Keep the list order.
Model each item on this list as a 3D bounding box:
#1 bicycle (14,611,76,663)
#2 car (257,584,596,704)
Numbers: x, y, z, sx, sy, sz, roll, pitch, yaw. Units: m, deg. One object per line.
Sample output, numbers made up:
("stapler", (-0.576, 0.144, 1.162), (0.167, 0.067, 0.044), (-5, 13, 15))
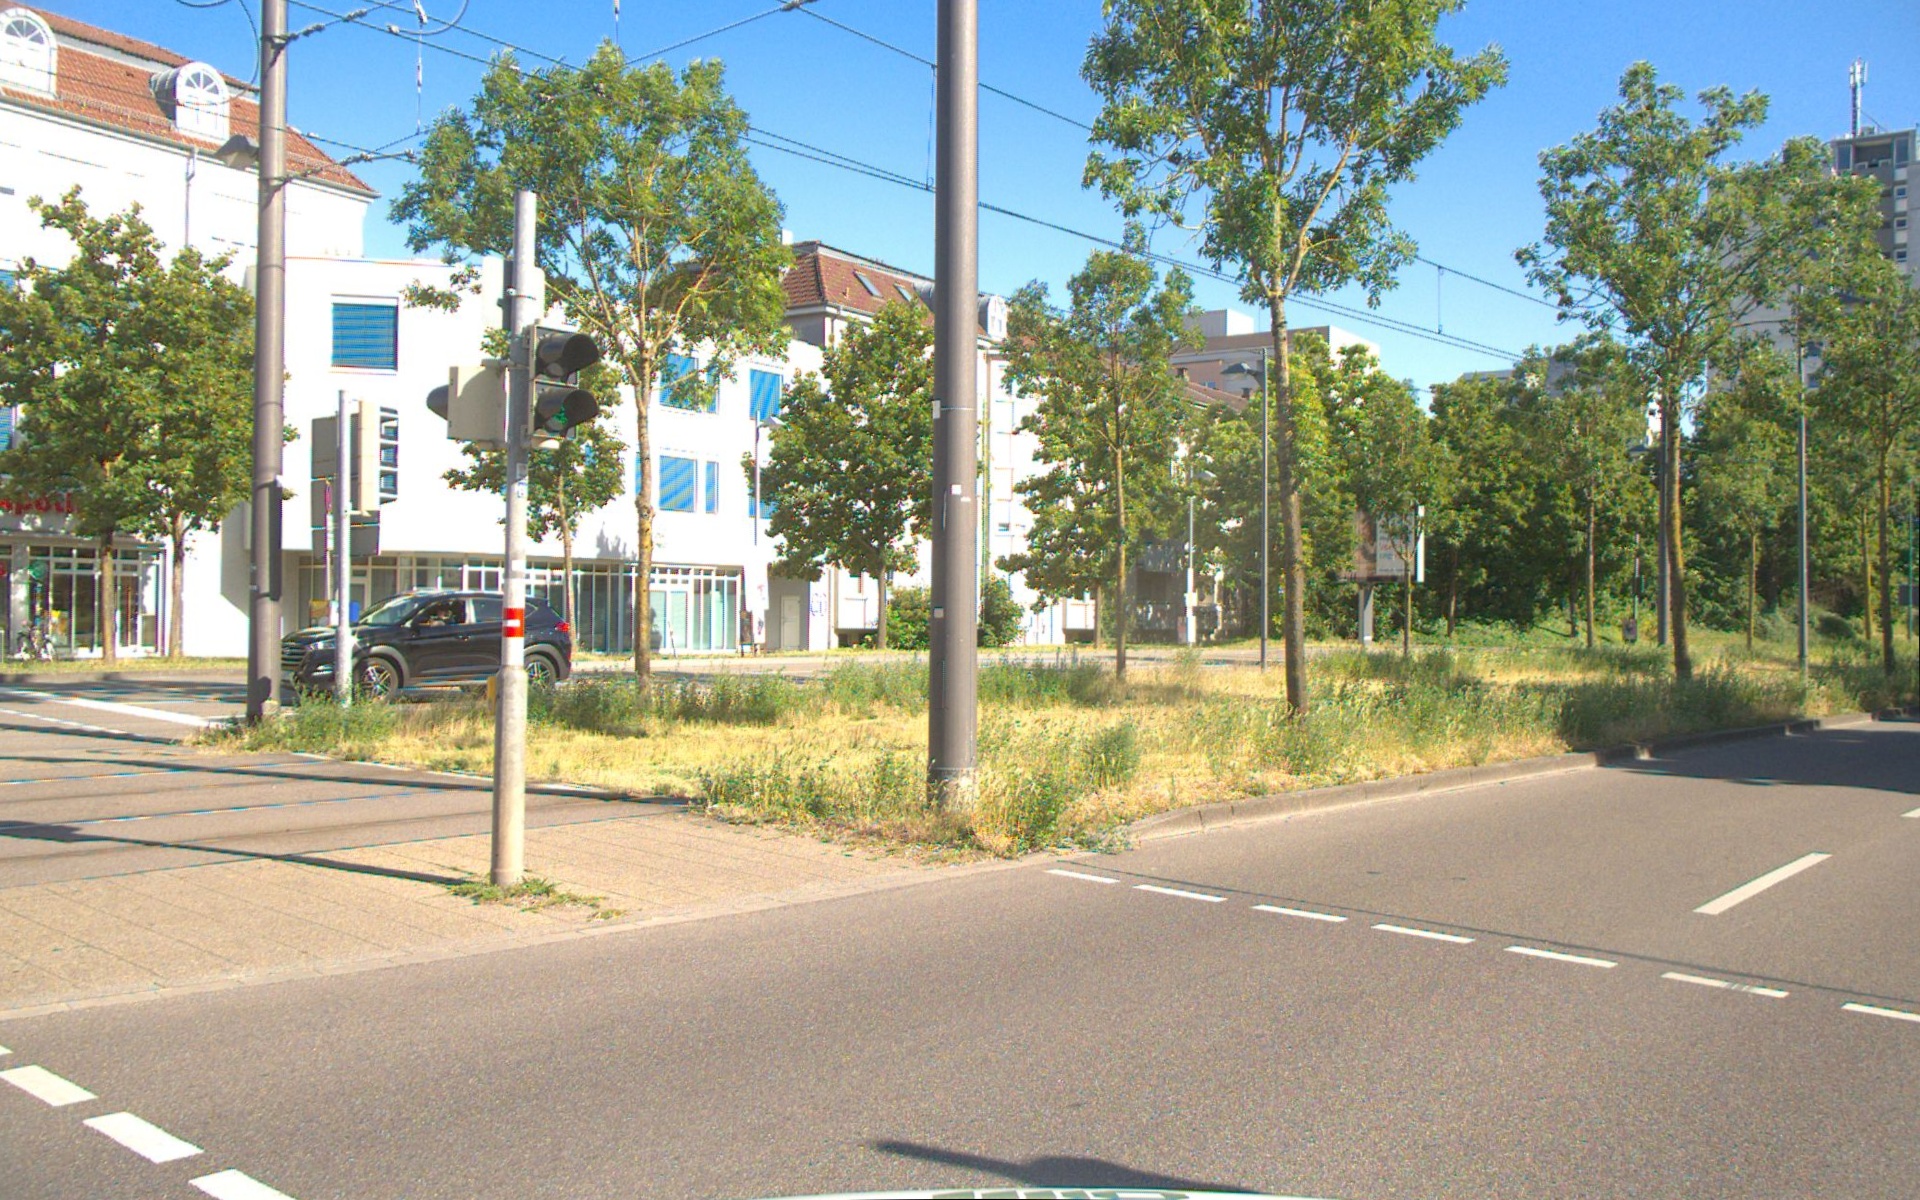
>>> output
("bicycle", (-21.785, 0.873, 39.362), (1.832, 1.203, 0.560), (0, -1, 36))
("car", (-7.912, 0.612, 24.848), (1.965, 1.638, 4.487), (0, -1, 43))
